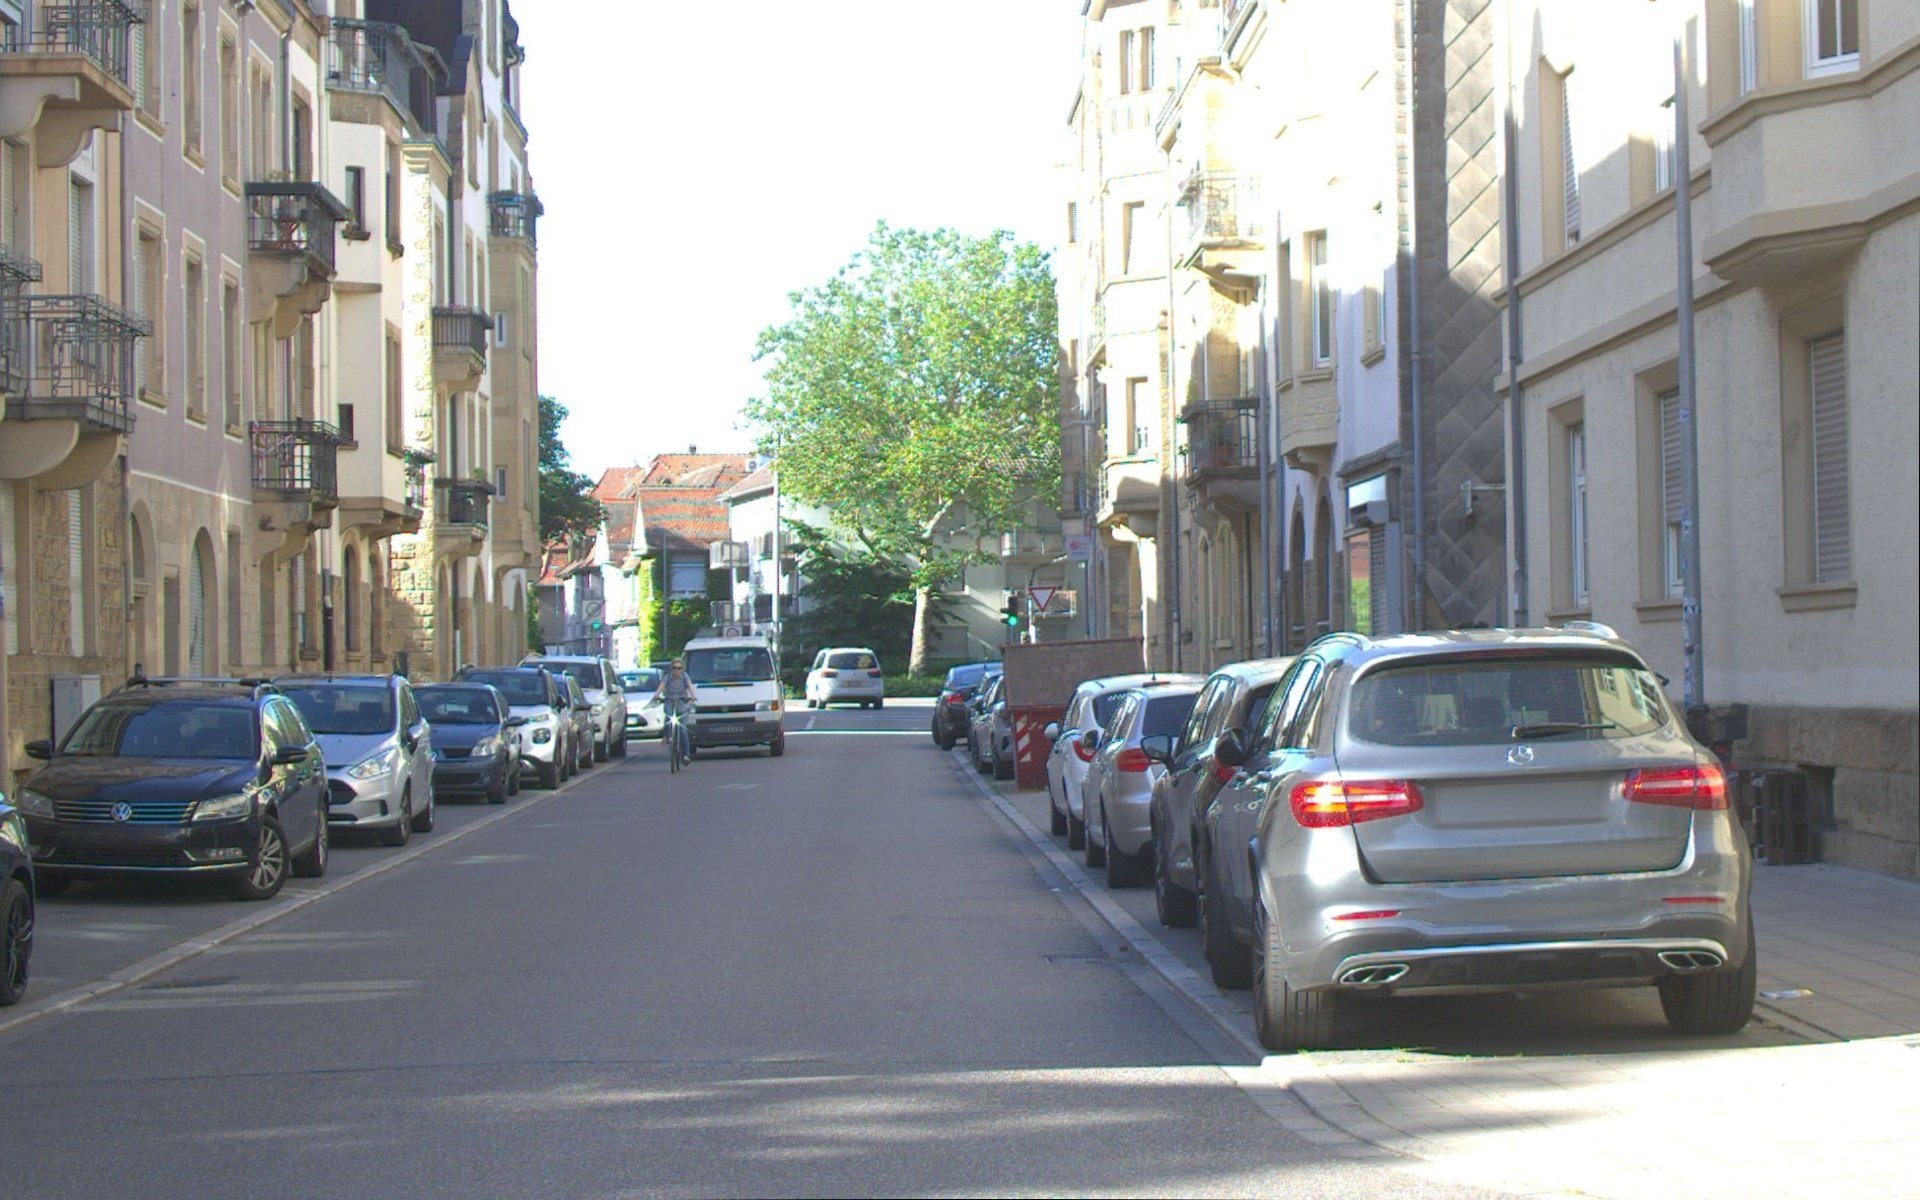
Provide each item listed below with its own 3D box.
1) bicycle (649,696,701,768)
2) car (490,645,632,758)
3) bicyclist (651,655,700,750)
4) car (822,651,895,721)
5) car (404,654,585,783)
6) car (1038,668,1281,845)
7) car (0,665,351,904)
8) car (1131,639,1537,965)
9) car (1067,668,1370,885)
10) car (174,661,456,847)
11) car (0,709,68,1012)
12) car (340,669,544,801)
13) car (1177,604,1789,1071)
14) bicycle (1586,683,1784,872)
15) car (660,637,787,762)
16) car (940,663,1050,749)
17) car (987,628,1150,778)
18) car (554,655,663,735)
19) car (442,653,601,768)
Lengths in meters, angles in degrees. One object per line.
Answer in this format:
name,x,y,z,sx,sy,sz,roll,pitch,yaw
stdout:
bicycle,-4.242,1.962,51.331,0.662,1.015,2.066,-2,-2,-3
car,-6.651,1.704,57.677,2.003,1.782,4.487,1,-2,-3
bicyclist,-4.248,1.528,51.360,0.662,1.381,0.754,-2,-2,-3
car,-2.910,2.476,98.261,2.003,1.907,4.487,1,-2,-2
car,-6.249,1.590,46.599,2.003,1.613,4.487,1,-2,-3
car,1.728,1.405,31.057,1.838,1.427,4.028,-2,-2,-1
car,-5.854,1.317,25.581,2.003,1.577,4.487,1,-2,-3
car,2.013,1.115,19.608,1.745,1.602,4.028,-2,-2,-1
car,1.841,1.299,25.668,1.838,1.427,4.028,-2,-2,-1
car,-6.093,1.446,32.964,2.003,1.613,4.487,1,-2,-3
car,-5.361,1.186,15.206,1.679,1.422,4.273,1,-2,0
car,-6.240,1.623,41.889,1.978,1.477,4.328,1,-2,-3
car,2.065,0.967,14.988,1.913,1.639,4.772,-2,-2,0
bicycle,5.114,1.226,24.431,0.761,1.242,2.592,-1,-1,-2
car,-3.979,1.694,58.469,2.003,1.993,4.487,1,-2,-3
car,0.606,1.953,62.660,1.838,1.427,4.028,-2,-3,-1
car,1.330,1.347,43.856,1.838,1.781,4.028,-1,-3,-1
car,-7.424,2.018,72.934,2.003,1.600,4.487,1,-2,-3
car,-6.591,1.672,52.097,2.003,1.613,4.487,1,-2,-3
